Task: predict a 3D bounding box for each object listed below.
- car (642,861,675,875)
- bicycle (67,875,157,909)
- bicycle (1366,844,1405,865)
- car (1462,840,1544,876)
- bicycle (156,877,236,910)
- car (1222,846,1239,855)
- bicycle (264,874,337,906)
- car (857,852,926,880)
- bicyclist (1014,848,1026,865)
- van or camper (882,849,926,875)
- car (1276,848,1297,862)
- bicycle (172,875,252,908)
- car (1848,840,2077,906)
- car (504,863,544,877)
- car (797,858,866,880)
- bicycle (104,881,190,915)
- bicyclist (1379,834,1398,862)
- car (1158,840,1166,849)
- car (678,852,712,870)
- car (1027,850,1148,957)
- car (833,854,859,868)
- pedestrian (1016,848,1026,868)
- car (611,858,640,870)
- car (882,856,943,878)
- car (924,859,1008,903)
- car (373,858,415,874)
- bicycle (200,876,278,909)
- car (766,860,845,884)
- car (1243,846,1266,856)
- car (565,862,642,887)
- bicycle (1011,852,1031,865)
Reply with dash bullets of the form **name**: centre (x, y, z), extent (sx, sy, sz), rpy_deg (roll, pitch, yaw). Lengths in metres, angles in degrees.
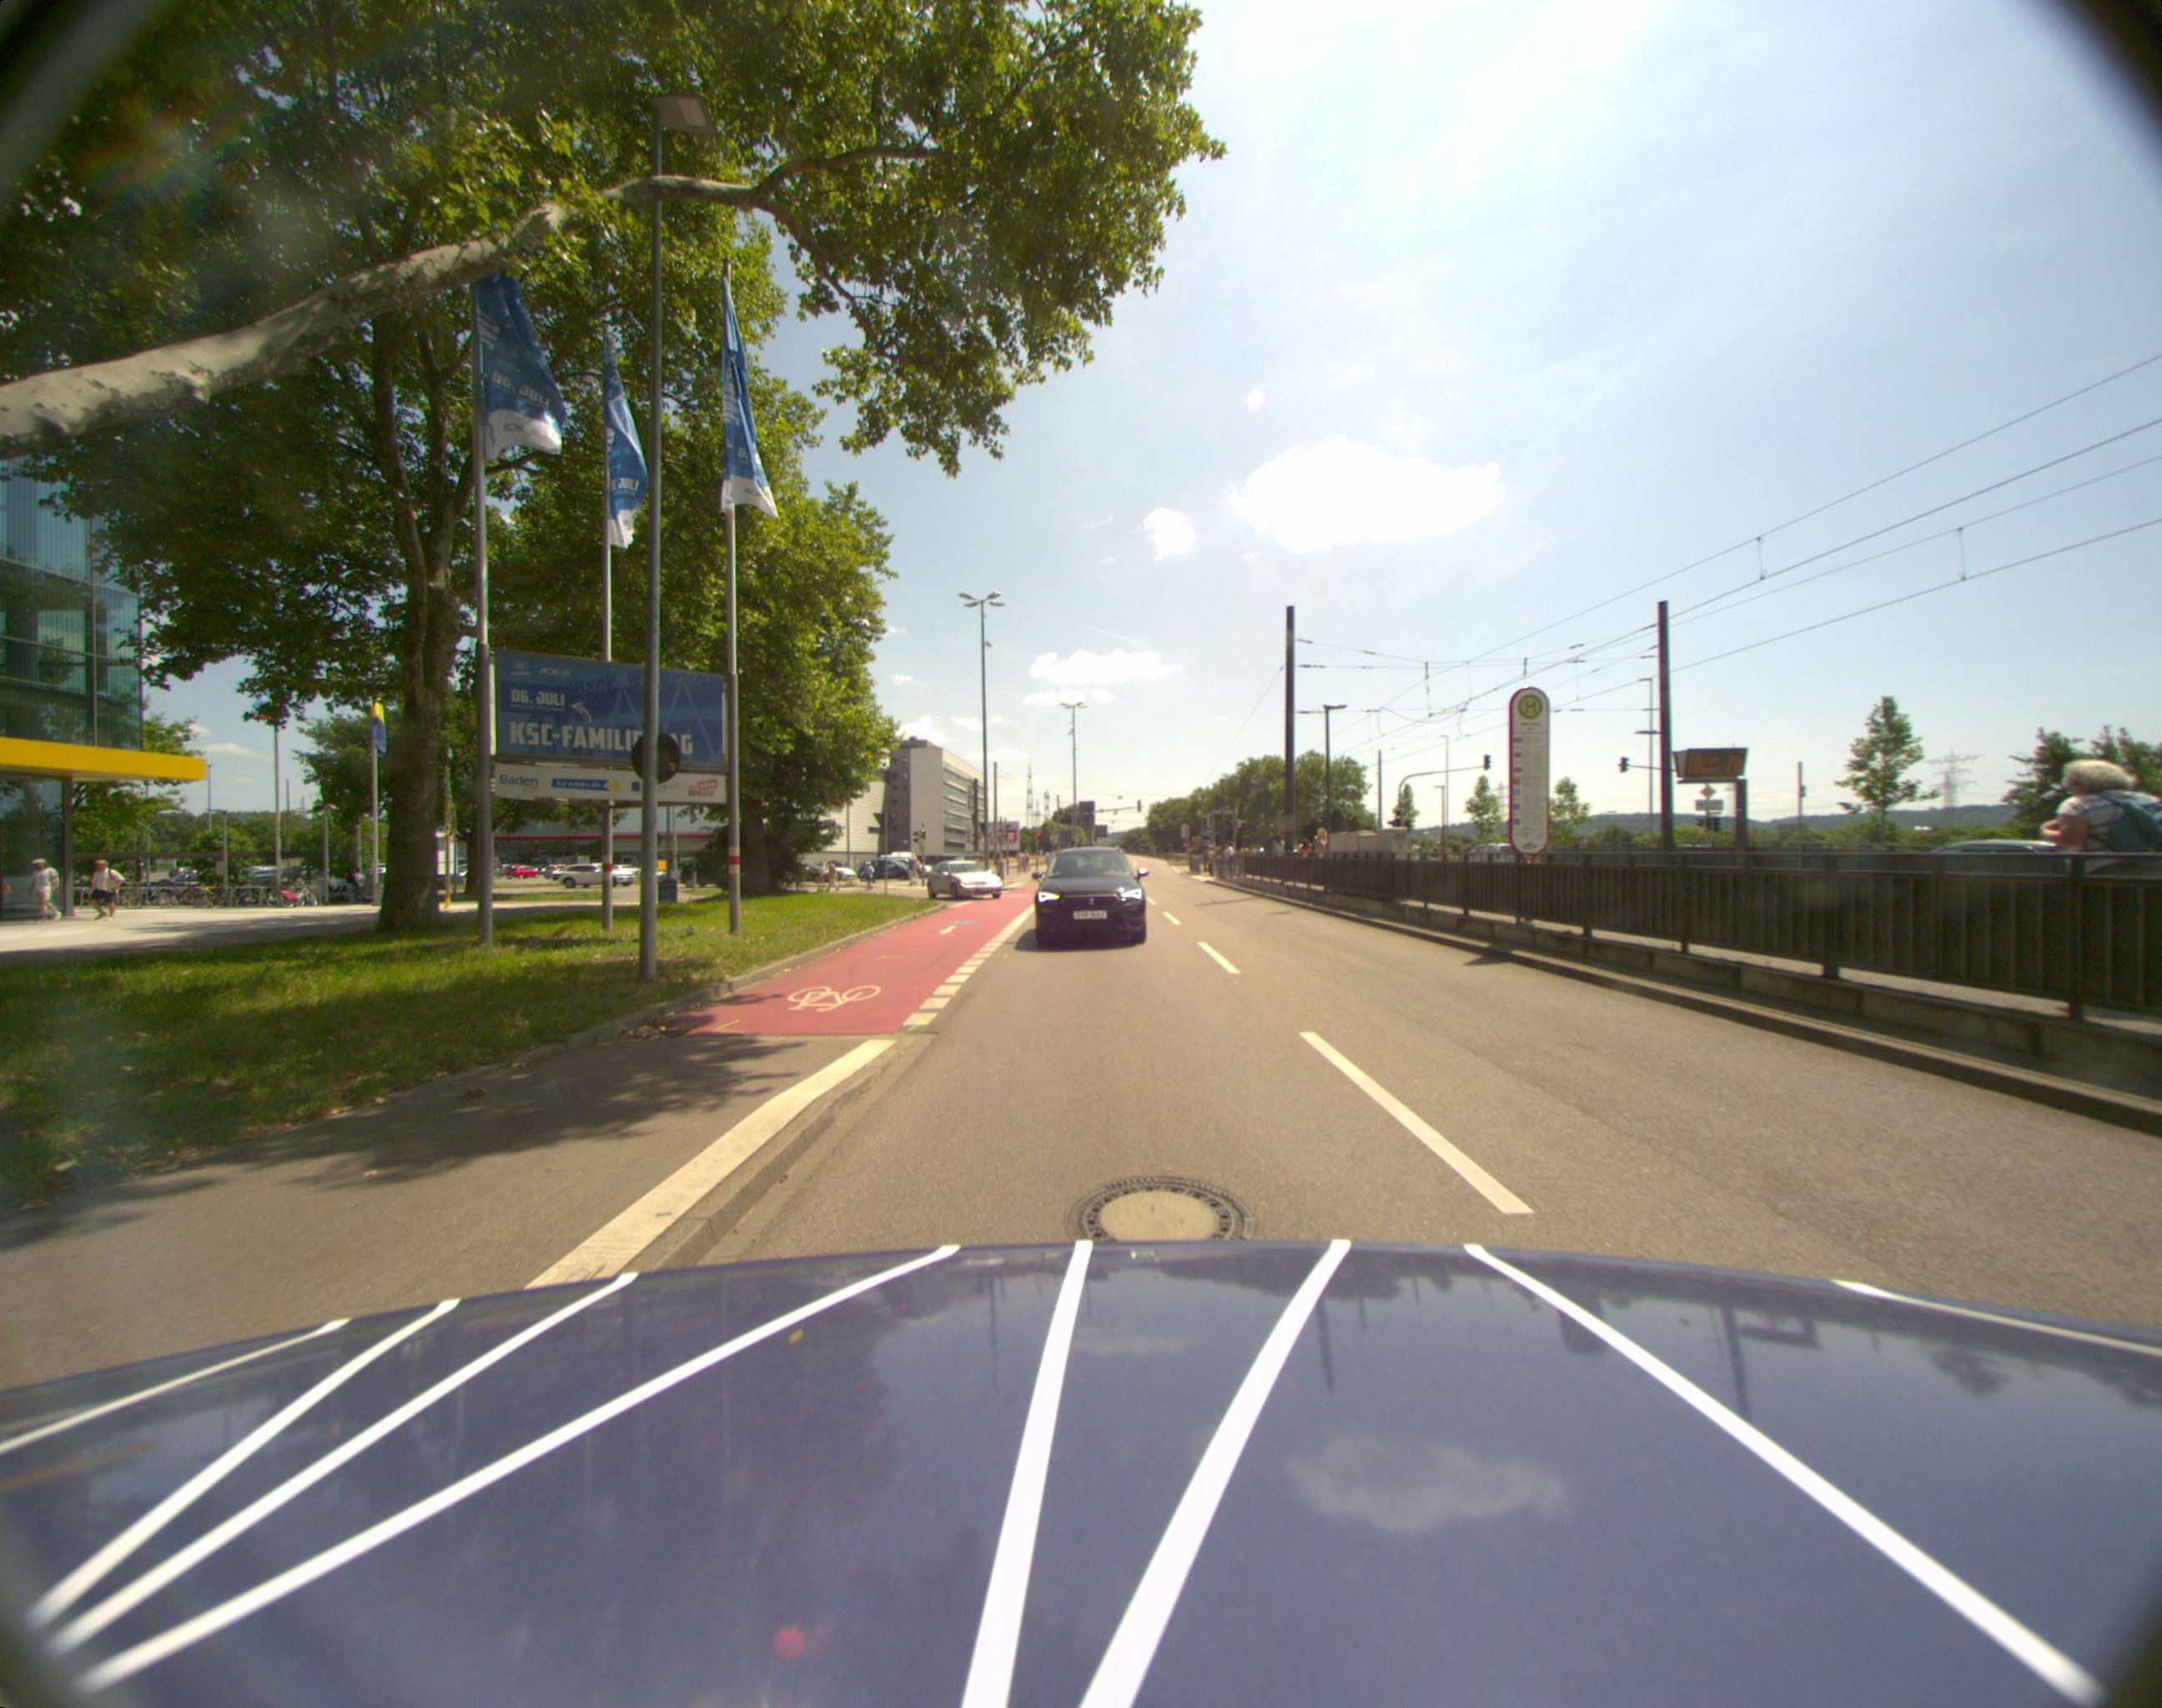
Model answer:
- **car**: centre (-52.429, 1.750, 94.309), extent (1.853, 1.537, 3.999), rpy_deg (-2, 1, -2)
- **bicycle**: centre (-38.845, 1.511, 30.523), extent (0.803, 1.192, 2.430), rpy_deg (-1, 1, -12)
- **bicycle**: centre (17.606, 0.018, 43.918), extent (1.979, 1.095, 0.763), rpy_deg (-2, 1, -14)
- **car**: centre (21.079, 0.153, 38.115), extent (1.998, 1.620, 4.000), rpy_deg (-2, 1, 3)
- **bicycle**: centre (-36.442, 1.604, 31.344), extent (0.803, 1.192, 2.430), rpy_deg (-1, 1, -12)
- **car**: centre (25.188, -0.578, 128.157), extent (1.998, 1.455, 4.278), rpy_deg (-1, 1, 0)
- **bicycle**: centre (-31.502, 1.414, 30.717), extent (0.803, 1.138, 2.430), rpy_deg (-1, 1, -12)
- **car**: centre (-12.456, 0.803, 50.086), extent (3.997, 1.545, 2.001), rpy_deg (-2, -4, 0)
- **bicyclist**: centre (-5.829, 0.239, 72.857), extent (0.818, 1.691, 0.797), rpy_deg (-1, 1, -44)
- **van or camper**: centre (-22.364, 0.943, 96.483), extent (2.714, 2.929, 7.617), rpy_deg (-2, 1, 9)
- **car**: centre (25.257, 0.160, 93.528), extent (1.997, 1.620, 4.312), rpy_deg (-1, 0, 9)
- **bicycle**: centre (-35.057, 1.489, 30.712), extent (0.803, 1.192, 2.430), rpy_deg (-1, 1, -12)
- **car**: centre (25.082, 0.463, 21.882), extent (1.998, 1.620, 3.999), rpy_deg (-3, 1, 2)
- **car**: centre (-73.988, 2.135, 100.985), extent (1.852, 1.692, 4.172), rpy_deg (-1, 1, 5)
- **car**: centre (-17.523, 1.066, 53.508), extent (4.227, 1.390, 1.804), rpy_deg (-1, 1, 9)
- **bicycle**: centre (-37.838, 1.755, 30.835), extent (0.803, 1.192, 2.430), rpy_deg (-1, 1, -12)
- **bicyclist**: centre (17.767, -0.360, 43.951), extent (0.666, 1.606, 0.732), rpy_deg (-2, 1, -14)
- **car**: centre (23.909, -2.681, 224.585), extent (1.998, 1.825, 4.441), rpy_deg (5, -8, 5)
- **car**: centre (-49.544, 0.879, 97.699), extent (1.998, 2.002, 4.000), rpy_deg (-2, 1, 4)
- **car**: centre (0.187, 0.753, 13.642), extent (1.819, 1.583, 4.000), rpy_deg (-1, 0, 2)
- **car**: centre (-33.754, 0.999, 109.166), extent (1.998, 1.707, 4.503), rpy_deg (-2, 1, 4)
- **pedestrian**: centre (-5.578, 0.396, 70.788), extent (0.805, 1.854, 0.798), rpy_deg (-2, 1, 6)
- **car**: centre (-66.095, 1.450, 110.339), extent (1.693, 1.518, 4.000), rpy_deg (-2, 1, 3)
- **car**: centre (-11.774, 0.902, 53.181), extent (3.834, 1.389, 1.803), rpy_deg (-1, 1, -1)
- **car**: centre (-4.351, 0.933, 28.195), extent (1.734, 1.410, 4.312), rpy_deg (-3, 2, -27)
- **car**: centre (-90.212, 1.583, 99.837), extent (1.544, 2.002, 4.000), rpy_deg (-2, 1, 4)
- **bicycle**: centre (-34.221, 1.527, 30.935), extent (0.803, 1.192, 2.430), rpy_deg (-1, 1, -12)
- **car**: centre (-17.816, 1.148, 49.302), extent (4.411, 1.435, 1.853), rpy_deg (-1, 1, 0)
- **car**: centre (24.816, -0.406, 109.003), extent (1.999, 1.436, 4.347), rpy_deg (-1, 1, -5)
- **car**: centre (-33.402, 1.406, 53.206), extent (4.078, 1.630, 2.000), rpy_deg (-1, 0, 3)
- **bicycle**: centre (-5.773, 0.436, 72.786), extent (0.833, 1.155, 1.874), rpy_deg (-2, 0, -44)
